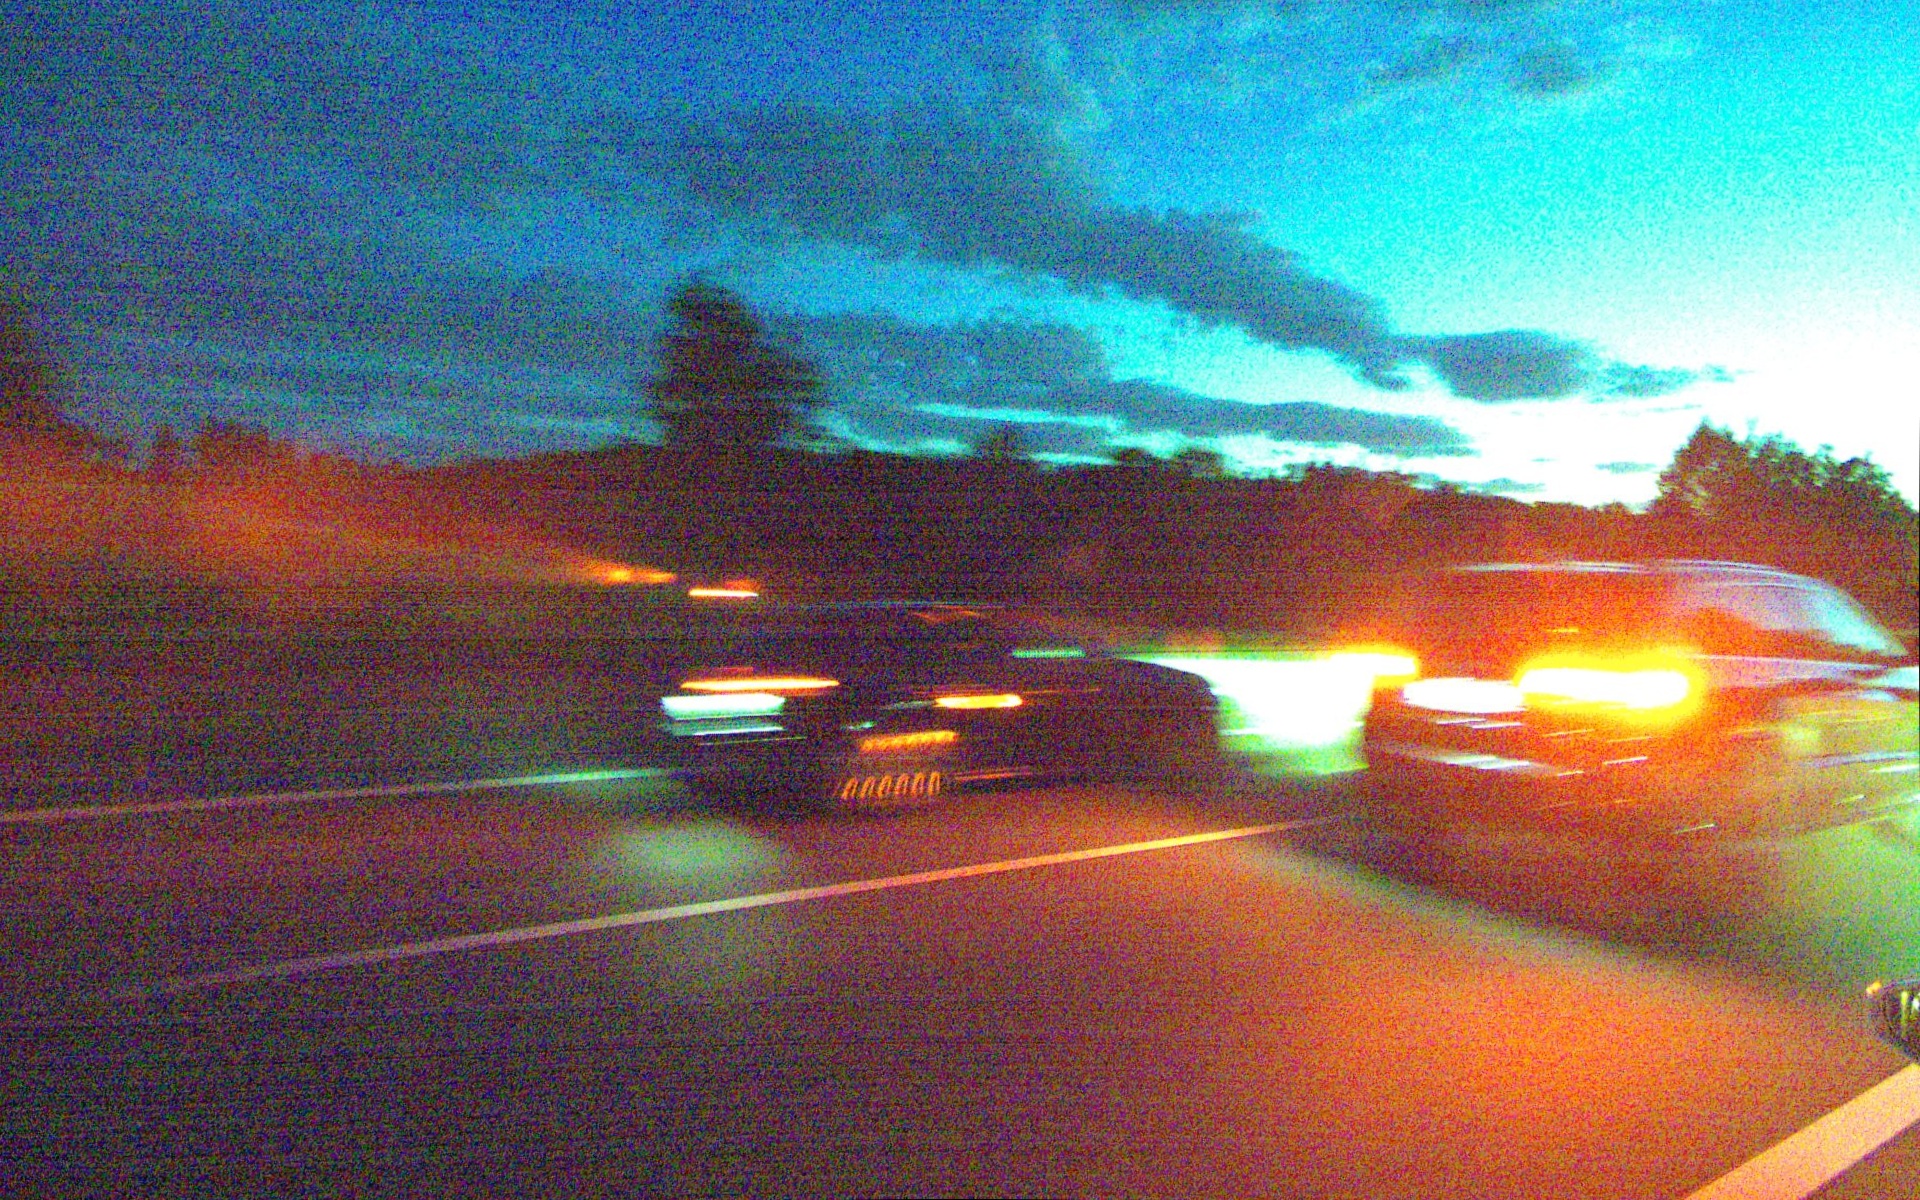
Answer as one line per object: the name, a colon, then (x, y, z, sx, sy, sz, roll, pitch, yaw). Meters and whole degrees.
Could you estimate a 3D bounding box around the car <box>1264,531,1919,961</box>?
car: (4.793, 0.691, 6.428, 5.872, 1.744, 1.984, 2, -1, -30)

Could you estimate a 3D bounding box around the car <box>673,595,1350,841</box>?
car: (0.661, 0.782, 8.001, 5.451, 1.450, 1.542, 2, -1, -31)
